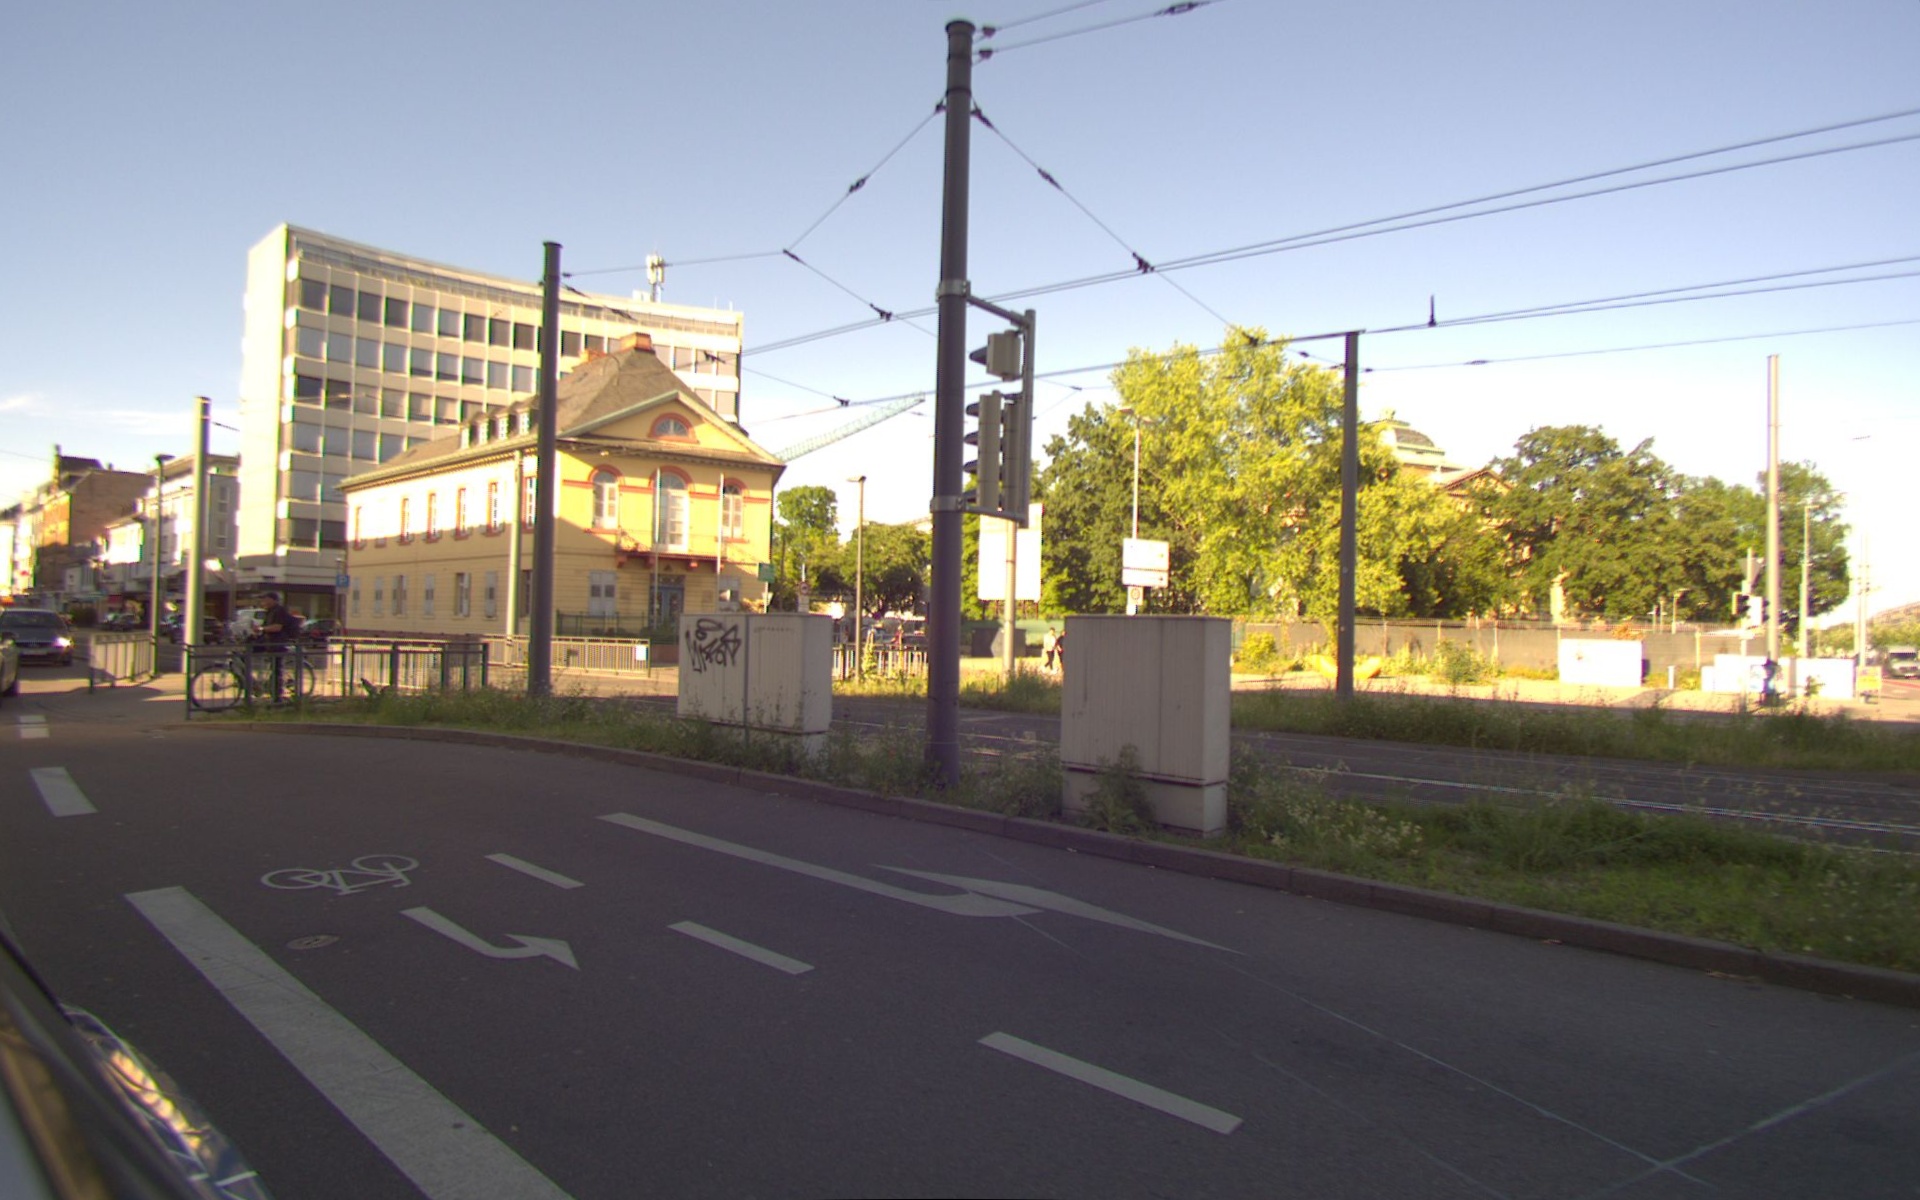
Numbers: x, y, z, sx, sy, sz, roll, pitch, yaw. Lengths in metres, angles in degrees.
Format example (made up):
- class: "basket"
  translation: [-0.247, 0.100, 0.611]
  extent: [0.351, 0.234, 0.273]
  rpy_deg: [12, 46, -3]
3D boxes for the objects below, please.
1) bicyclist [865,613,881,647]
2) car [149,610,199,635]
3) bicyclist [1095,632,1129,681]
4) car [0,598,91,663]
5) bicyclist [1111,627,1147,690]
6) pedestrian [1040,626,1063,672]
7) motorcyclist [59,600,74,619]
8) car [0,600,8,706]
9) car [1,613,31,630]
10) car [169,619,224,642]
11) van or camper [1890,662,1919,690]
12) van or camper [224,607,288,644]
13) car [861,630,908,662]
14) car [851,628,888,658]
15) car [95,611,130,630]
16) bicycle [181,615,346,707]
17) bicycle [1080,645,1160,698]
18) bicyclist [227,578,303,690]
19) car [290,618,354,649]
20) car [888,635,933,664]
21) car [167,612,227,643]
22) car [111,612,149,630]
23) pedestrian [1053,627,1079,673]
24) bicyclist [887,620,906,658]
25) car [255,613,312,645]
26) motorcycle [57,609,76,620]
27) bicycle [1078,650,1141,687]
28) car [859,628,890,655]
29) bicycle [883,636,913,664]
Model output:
- class: "bicyclist"
  translation: [-4.446, 1.534, 51.547]
  extent: [0.513, 1.686, 0.773]
  rpy_deg: [2, -2, -27]
- class: "car"
  translation: [-55.183, 1.555, 71.050]
  extent: [4.278, 1.654, 1.906]
  rpy_deg: [0, 0, 40]
- class: "bicyclist"
  translation: [4.632, 1.716, 30.832]
  extent: [0.656, 1.465, 0.731]
  rpy_deg: [3, -2, -45]
- class: "car"
  translation: [-26.242, 0.848, 28.825]
  extent: [3.961, 1.676, 1.714]
  rpy_deg: [0, -3, 42]
- class: "bicyclist"
  translation: [4.539, 1.556, 27.139]
  extent: [0.802, 1.661, 0.585]
  rpy_deg: [1, -2, 26]
- class: "pedestrian"
  translation: [3.739, 1.999, 41.252]
  extent: [0.586, 1.831, 0.706]
  rpy_deg: [2, -2, -36]
- class: "motorcyclist"
  translation: [-74.750, 0.762, 84.641]
  extent: [0.882, 1.570, 0.647]
  rpy_deg: [1, -2, 33]
- class: "car"
  translation: [-15.538, 0.694, 14.971]
  extent: [4.776, 1.450, 1.843]
  rpy_deg: [0, -2, 44]
- class: "car"
  translation: [-95.813, 2.173, 102.694]
  extent: [3.858, 1.521, 1.758]
  rpy_deg: [0, -4, 41]
- class: "car"
  translation: [-51.105, 2.016, 67.714]
  extent: [4.288, 1.463, 1.907]
  rpy_deg: [0, 0, 38]
- class: "van or camper"
  translation: [73.329, 5.816, 77.531]
  extent: [1.971, 2.016, 4.314]
  rpy_deg: [1, -1, 28]
- class: "van or camper"
  translation: [-41.157, 1.456, 59.106]
  extent: [4.795, 1.988, 1.934]
  rpy_deg: [0, 0, 41]
- class: "car"
  translation: [-4.290, 2.562, 56.869]
  extent: [1.862, 1.683, 3.875]
  rpy_deg: [2, -1, -15]
- class: "car"
  translation: [-5.569, 2.602, 62.153]
  extent: [1.773, 1.683, 3.765]
  rpy_deg: [2, -1, -12]
- class: "car"
  translation: [-72.808, 1.771, 86.929]
  extent: [3.832, 1.531, 1.762]
  rpy_deg: [0, -2, 42]
- class: "bicycle"
  translation: [-9.893, 0.851, 14.446]
  extent: [0.640, 1.221, 1.803]
  rpy_deg: [0, -2, 36]
- class: "bicycle"
  translation: [4.297, 1.909, 27.243]
  extent: [2.016, 1.301, 0.570]
  rpy_deg: [1, -1, 26]
- class: "bicyclist"
  translation: [-9.902, 0.475, 14.422]
  extent: [0.633, 1.535, 0.675]
  rpy_deg: [0, -2, 37]
- class: "car"
  translation: [-32.429, 1.684, 51.429]
  extent: [3.961, 1.450, 1.757]
  rpy_deg: [0, 0, 42]
- class: "car"
  translation: [-2.543, 2.495, 51.570]
  extent: [1.623, 1.357, 3.769]
  rpy_deg: [2, -1, -13]
- class: "car"
  translation: [-40.971, 1.472, 54.318]
  extent: [4.119, 1.572, 1.668]
  rpy_deg: [0, -2, 40]
- class: "car"
  translation: [-68.506, 1.741, 83.537]
  extent: [3.595, 1.427, 1.763]
  rpy_deg: [0, -2, 40]
- class: "pedestrian"
  translation: [4.374, 2.044, 41.863]
  extent: [0.695, 1.865, 0.741]
  rpy_deg: [2, -2, -36]
- class: "bicyclist"
  translation: [-2.916, 1.788, 46.384]
  extent: [0.514, 1.686, 0.772]
  rpy_deg: [3, -2, -39]
- class: "car"
  translation: [-36.965, 1.535, 55.260]
  extent: [4.177, 1.633, 1.757]
  rpy_deg: [0, 0, 44]
- class: "motorcycle"
  translation: [-74.694, 1.214, 84.601]
  extent: [2.149, 0.933, 0.594]
  rpy_deg: [1, -2, 32]
- class: "bicycle"
  translation: [4.543, 2.078, 30.913]
  extent: [0.642, 1.021, 1.886]
  rpy_deg: [3, -2, -45]
- class: "car"
  translation: [-5.695, 2.735, 66.998]
  extent: [1.773, 1.683, 3.763]
  rpy_deg: [2, -1, -9]
- class: "bicycle"
  translation: [-2.837, 2.281, 46.297]
  extent: [0.522, 1.223, 1.890]
  rpy_deg: [2, -2, -32]
